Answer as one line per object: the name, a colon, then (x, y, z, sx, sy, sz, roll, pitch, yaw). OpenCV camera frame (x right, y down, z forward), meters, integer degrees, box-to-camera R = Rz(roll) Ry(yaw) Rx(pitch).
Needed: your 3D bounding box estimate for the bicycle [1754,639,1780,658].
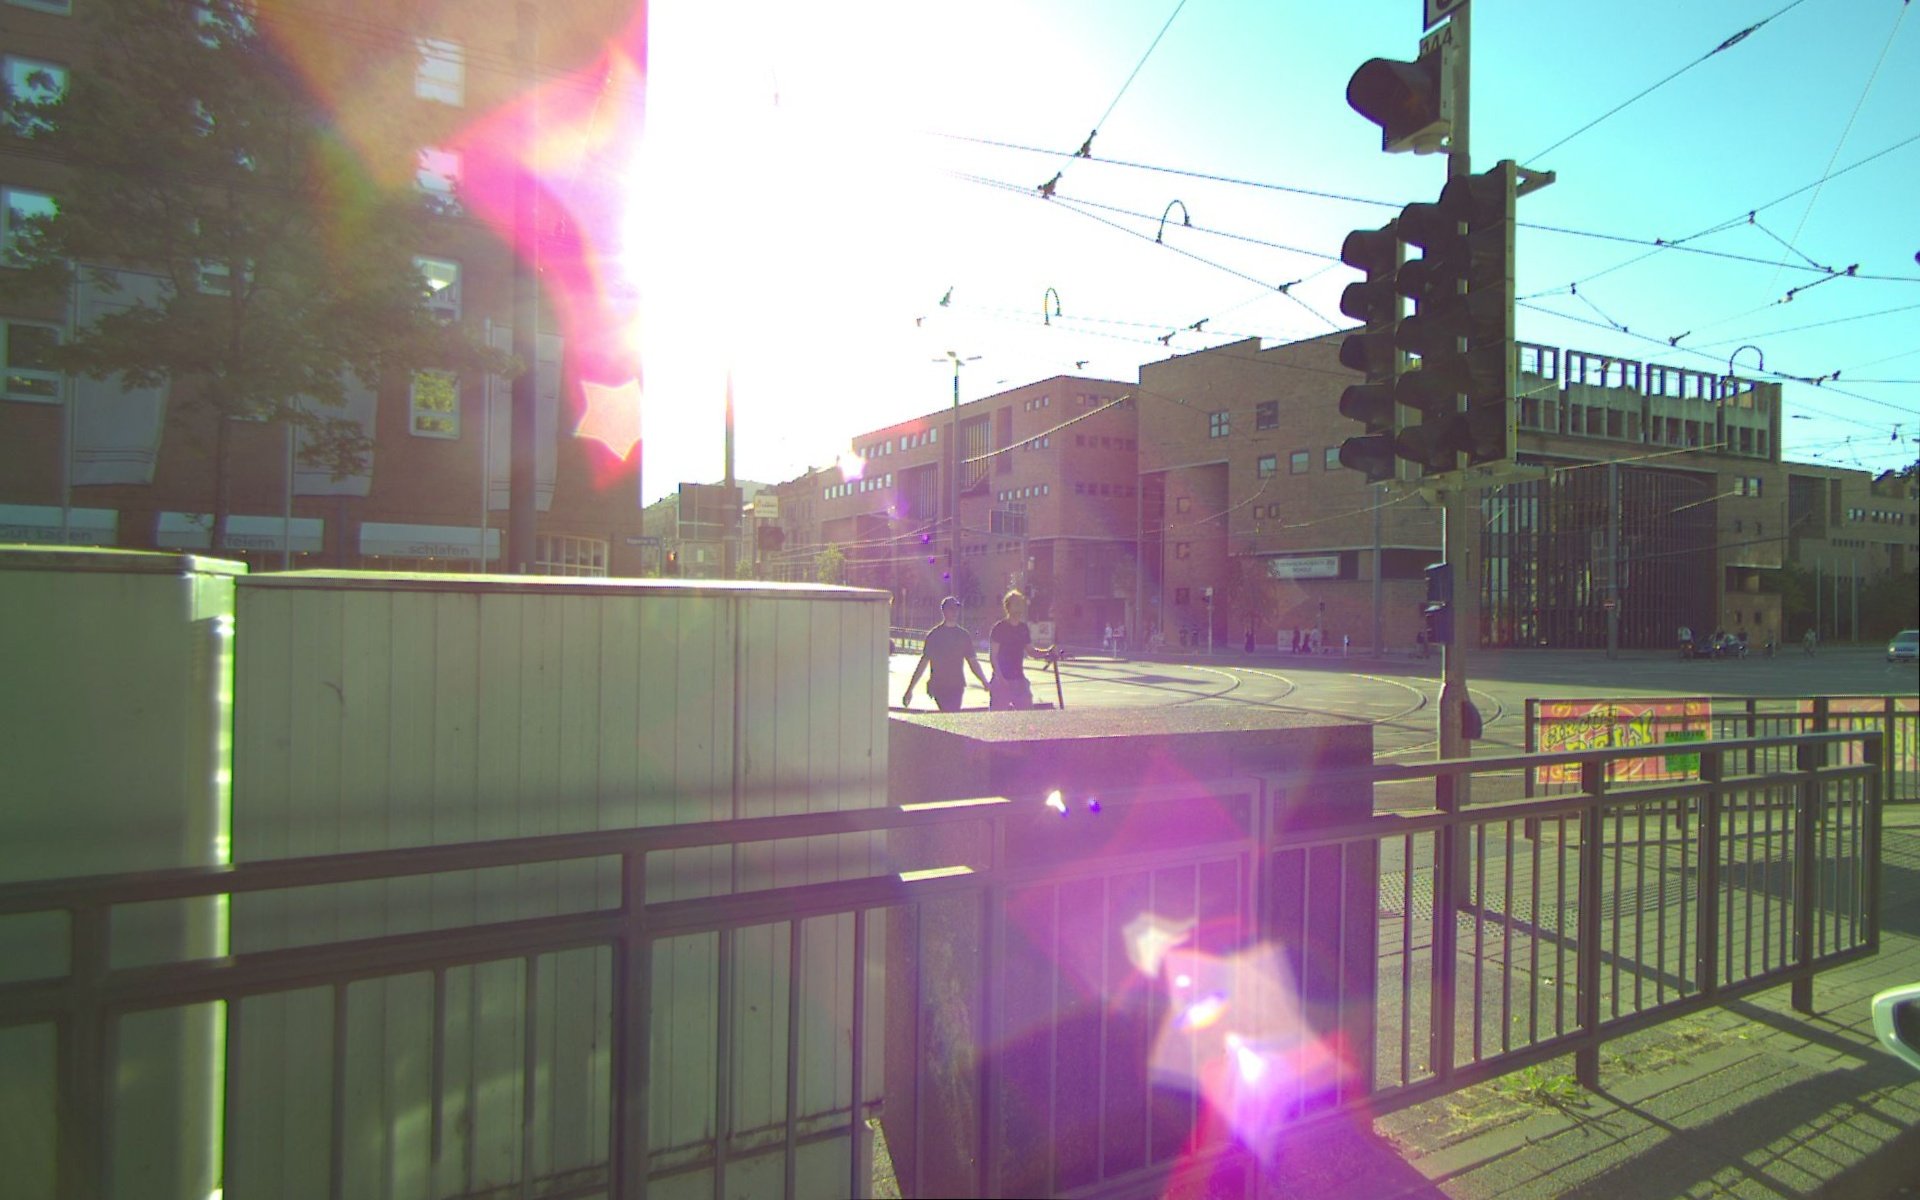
bicycle: (46.241, 2.797, 57.571, 1.993, 1.064, 0.647, 2, -1, -35)

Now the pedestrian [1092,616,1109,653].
pedestrian: (7.936, 1.934, 56.682, 0.607, 2.040, 0.727, 1, -1, -32)

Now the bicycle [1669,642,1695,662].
bicycle: (37.852, 2.710, 52.640, 1.886, 1.011, 0.647, 2, -2, -40)

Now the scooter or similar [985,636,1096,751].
scooter or similar: (0.810, 0.932, 10.407, 0.639, 1.095, 1.199, 1, -1, -25)

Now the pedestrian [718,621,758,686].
pedestrian: (-6.206, 1.481, 28.100, 0.860, 1.775, 0.670, 1, -2, -39)

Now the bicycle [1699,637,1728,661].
bicycle: (38.825, 2.516, 51.738, 2.092, 1.157, 0.680, -1, 0, -38)

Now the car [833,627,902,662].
car: (-4.811, 2.238, 51.805, 1.978, 1.709, 3.965, 1, -2, -33)

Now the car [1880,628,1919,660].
car: (48.959, 2.260, 51.750, 3.962, 1.598, 1.610, 1, -2, -36)

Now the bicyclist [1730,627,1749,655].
bicyclist: (43.695, 2.297, 56.291, 0.752, 1.590, 0.656, 1, -2, -37)

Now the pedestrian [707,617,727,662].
pedestrian: (-11.091, 1.785, 45.792, 0.597, 2.040, 0.848, 1, -1, -38)

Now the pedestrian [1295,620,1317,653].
pedestrian: (21.759, 2.277, 63.147, 0.841, 2.079, 1.001, 1, -1, -32)

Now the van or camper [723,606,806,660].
van or camper: (-9.373, 1.567, 47.898, 1.981, 2.451, 4.980, 1, -2, -36)

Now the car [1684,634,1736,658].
car: (45.036, 2.738, 60.285, 3.682, 1.394, 1.569, 1, -2, -37)

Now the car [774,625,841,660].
car: (-7.801, 2.144, 51.180, 1.978, 1.709, 3.965, 1, -2, -33)

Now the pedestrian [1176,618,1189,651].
pedestrian: (13.557, 2.095, 61.195, 0.603, 2.040, 0.731, 0, -1, 30)

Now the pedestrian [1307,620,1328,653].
pedestrian: (22.734, 2.309, 63.861, 0.841, 2.079, 1.001, 1, -1, -32)

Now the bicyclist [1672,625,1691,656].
bicyclist: (37.754, 2.132, 52.567, 0.752, 1.595, 0.655, 1, -2, -39)

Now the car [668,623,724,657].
car: (-14.242, 2.120, 54.069, 1.739, 1.750, 3.963, 1, -2, -33)

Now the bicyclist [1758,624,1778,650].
bicyclist: (46.437, 2.129, 57.725, 1.022, 1.494, 0.649, 2, -1, -35)

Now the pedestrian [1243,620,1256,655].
pedestrian: (16.979, 2.170, 58.884, 0.603, 2.040, 0.731, 0, -1, 30)

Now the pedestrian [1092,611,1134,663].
pedestrian: (6.070, 1.461, 39.883, 1.193, 2.040, 1.028, 2, 0, -30)

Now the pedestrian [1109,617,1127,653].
pedestrian: (8.921, 1.959, 56.582, 0.644, 2.040, 0.780, 1, -1, -32)

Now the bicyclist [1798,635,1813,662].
bicyclist: (51.418, 2.957, 61.061, 0.509, 1.647, 0.583, 1, -1, -34)

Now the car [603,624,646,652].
car: (-21.757, 2.423, 65.078, 1.738, 1.750, 3.965, 1, -2, -32)

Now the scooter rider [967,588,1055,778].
scooter rider: (0.521, 0.840, 10.349, 0.670, 1.877, 0.564, 3, -2, -25)

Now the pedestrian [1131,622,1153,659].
pedestrian: (10.070, 2.217, 55.508, 0.917, 2.010, 0.780, 1, -1, -32)

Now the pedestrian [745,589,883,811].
pedestrian: (-1.312, 0.832, 8.896, 0.944, 1.822, 0.987, 2, 0, -24)

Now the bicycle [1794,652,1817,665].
bicycle: (51.371, 3.536, 61.023, 1.948, 0.781, 0.586, 1, -2, -35)

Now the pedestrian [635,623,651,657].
pedestrian: (-17.247, 2.177, 54.648, 0.597, 1.843, 0.848, 1, -1, -38)

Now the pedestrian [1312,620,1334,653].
pedestrian: (22.539, 2.258, 62.434, 0.841, 2.079, 1.001, 1, -1, -32)

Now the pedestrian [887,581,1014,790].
pedestrian: (-0.111, 0.801, 9.877, 0.843, 1.908, 1.164, 1, -1, -25)

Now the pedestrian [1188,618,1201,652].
pedestrian: (14.231, 2.096, 60.993, 0.603, 2.040, 0.731, 0, -1, 30)

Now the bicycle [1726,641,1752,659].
bicycle: (43.571, 2.784, 56.189, 1.884, 1.011, 0.688, 1, -2, -37)

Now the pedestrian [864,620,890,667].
pedestrian: (-3.263, 1.699, 39.356, 0.797, 1.801, 0.623, 2, 0, -30)

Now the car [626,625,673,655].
car: (-18.645, 2.370, 60.282, 1.738, 1.750, 3.965, 1, -2, -32)

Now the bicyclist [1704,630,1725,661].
bicyclist: (38.895, 2.345, 51.793, 0.752, 1.581, 0.677, 1, -2, -38)

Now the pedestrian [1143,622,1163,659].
pedestrian: (10.760, 2.240, 55.992, 0.742, 2.010, 0.780, 1, -1, -32)
